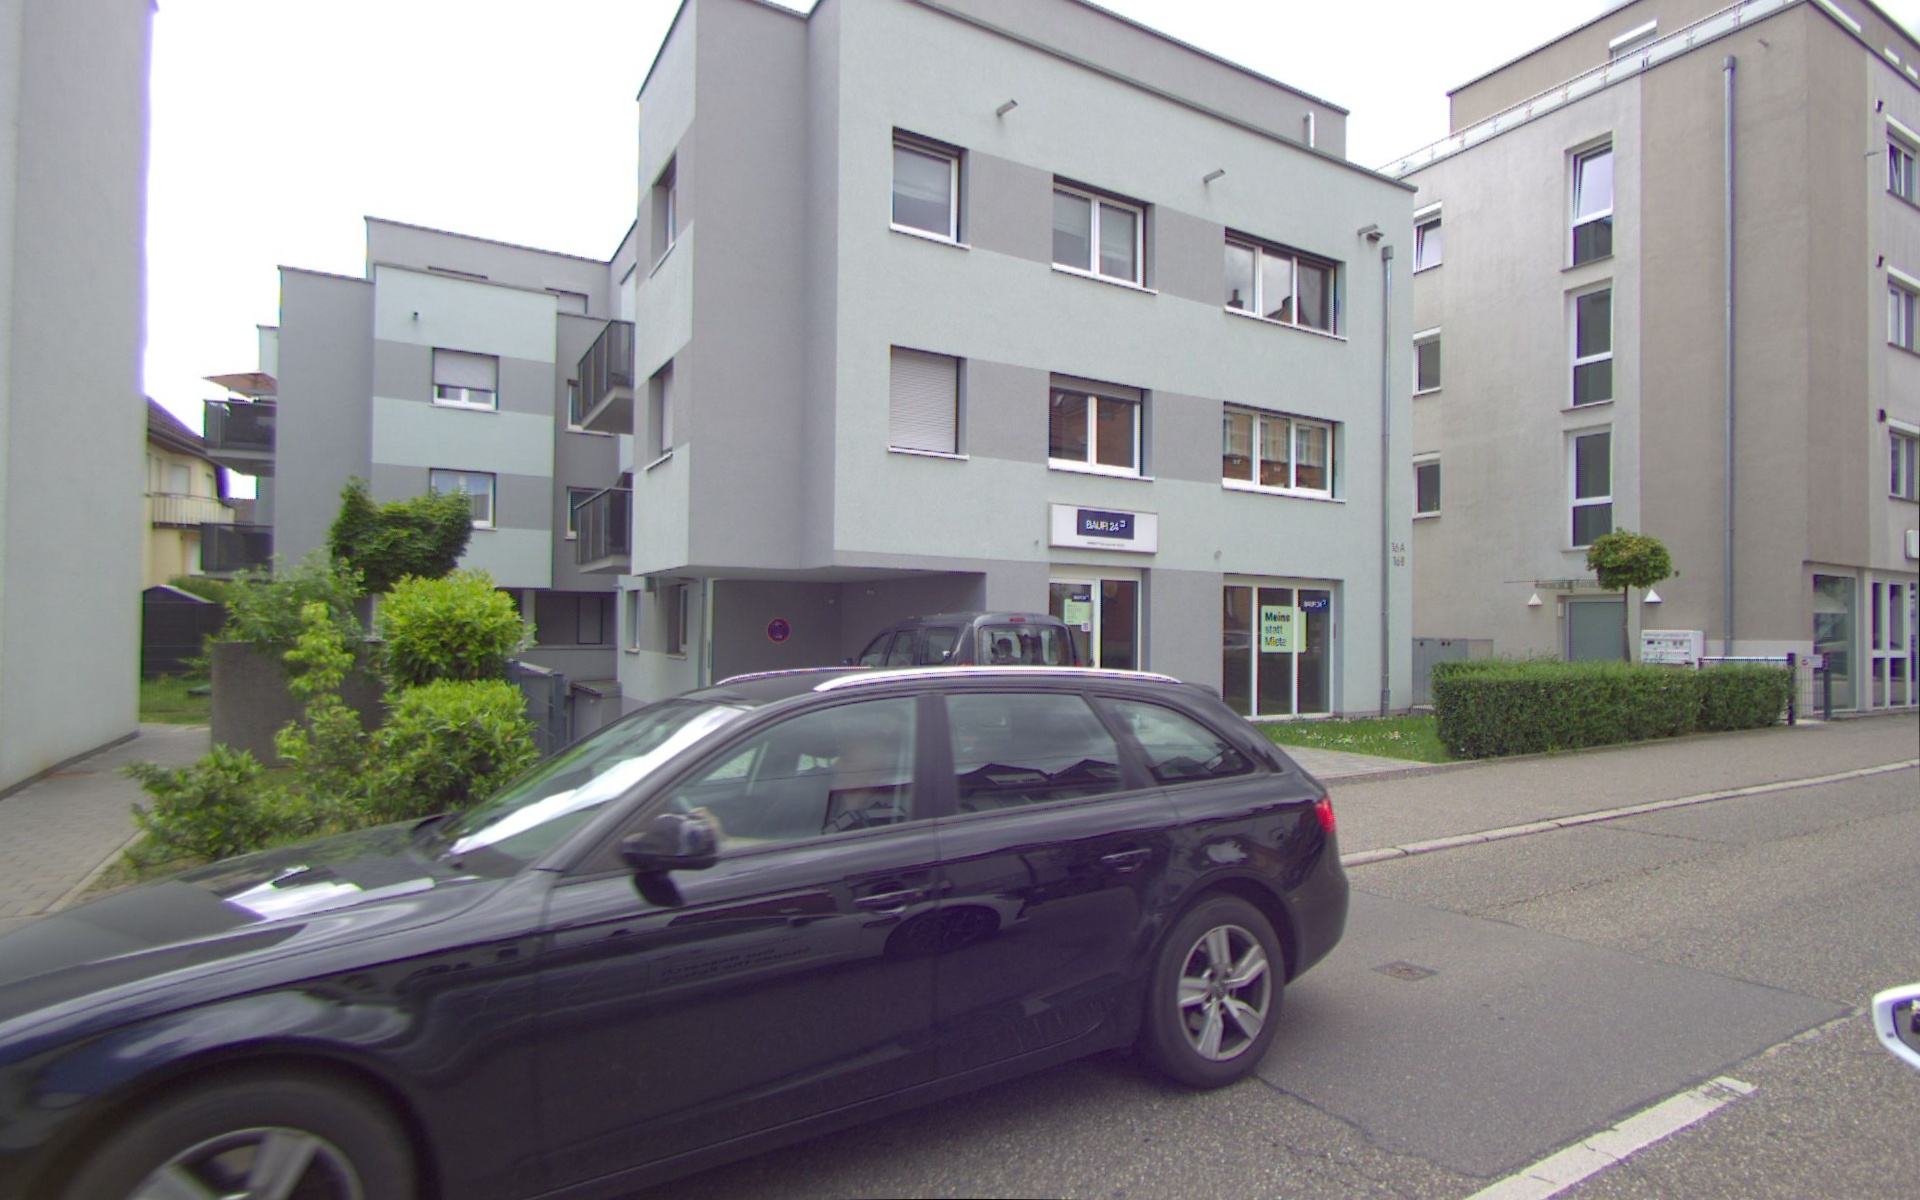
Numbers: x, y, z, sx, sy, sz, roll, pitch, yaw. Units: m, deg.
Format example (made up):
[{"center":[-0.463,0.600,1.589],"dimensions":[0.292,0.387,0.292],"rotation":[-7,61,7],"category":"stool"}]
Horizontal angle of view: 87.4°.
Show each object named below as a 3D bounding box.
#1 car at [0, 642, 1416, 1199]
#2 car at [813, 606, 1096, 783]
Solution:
[{"center":[-0.530,0.912,3.576],"dimensions":[4.165,1.469,1.870],"rotation":[1,-4,-31],"category":"car"},{"center":[-0.271,0.960,11.845],"dimensions":[1.702,1.689,4.149],"rotation":[2,-2,-26],"category":"car"}]
